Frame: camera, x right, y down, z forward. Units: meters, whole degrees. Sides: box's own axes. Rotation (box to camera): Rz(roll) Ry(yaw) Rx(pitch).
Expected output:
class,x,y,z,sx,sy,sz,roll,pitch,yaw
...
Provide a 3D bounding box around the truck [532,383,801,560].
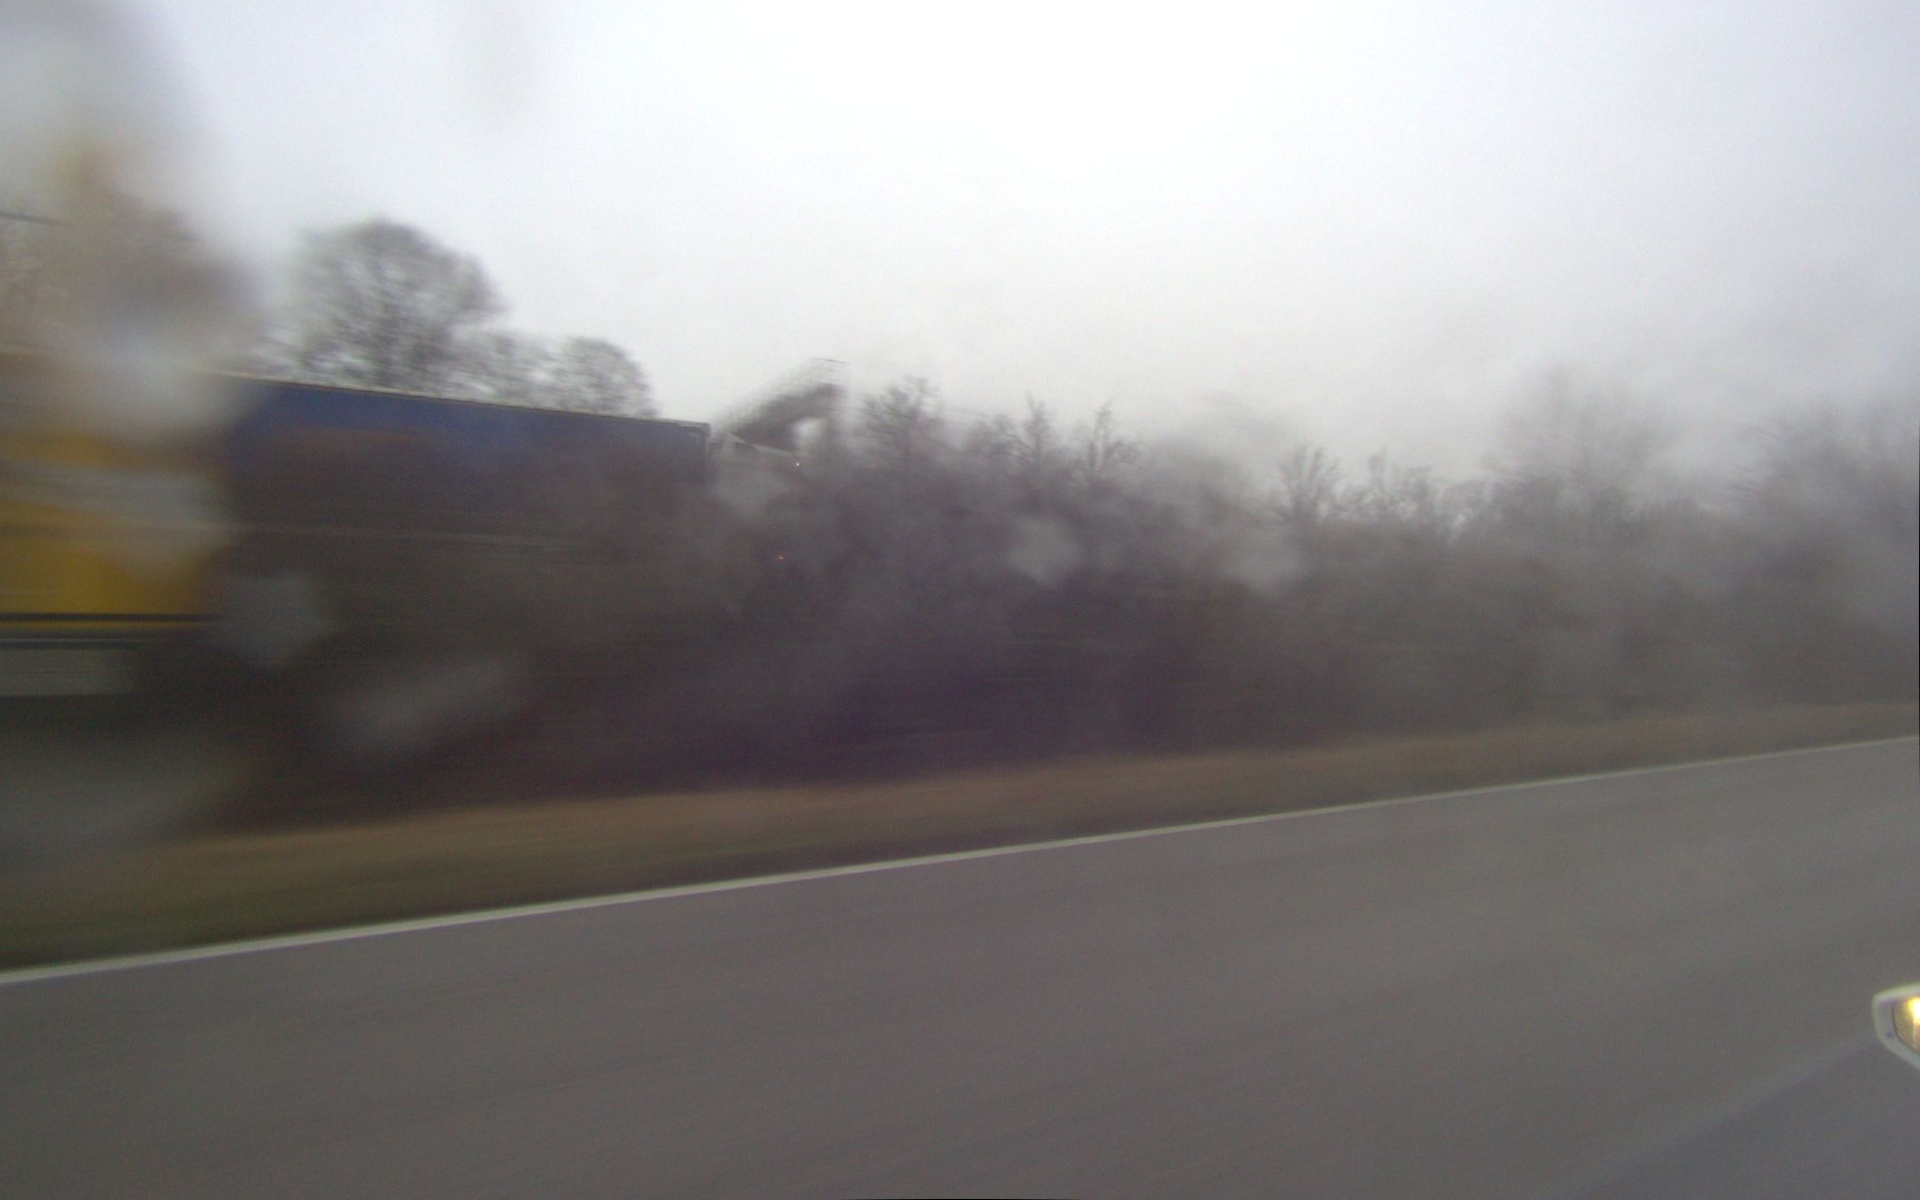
class,x,y,z,sx,sy,sz,roll,pitch,yaw
truck,-7.393,-3.004,25.420,5.996,3.681,2.978,1,0,-30

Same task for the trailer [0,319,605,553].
class,x,y,z,sx,sy,sz,roll,pitch,yaw
trailer,-13.778,-3.111,21.627,11.254,3.682,2.984,1,0,-31
